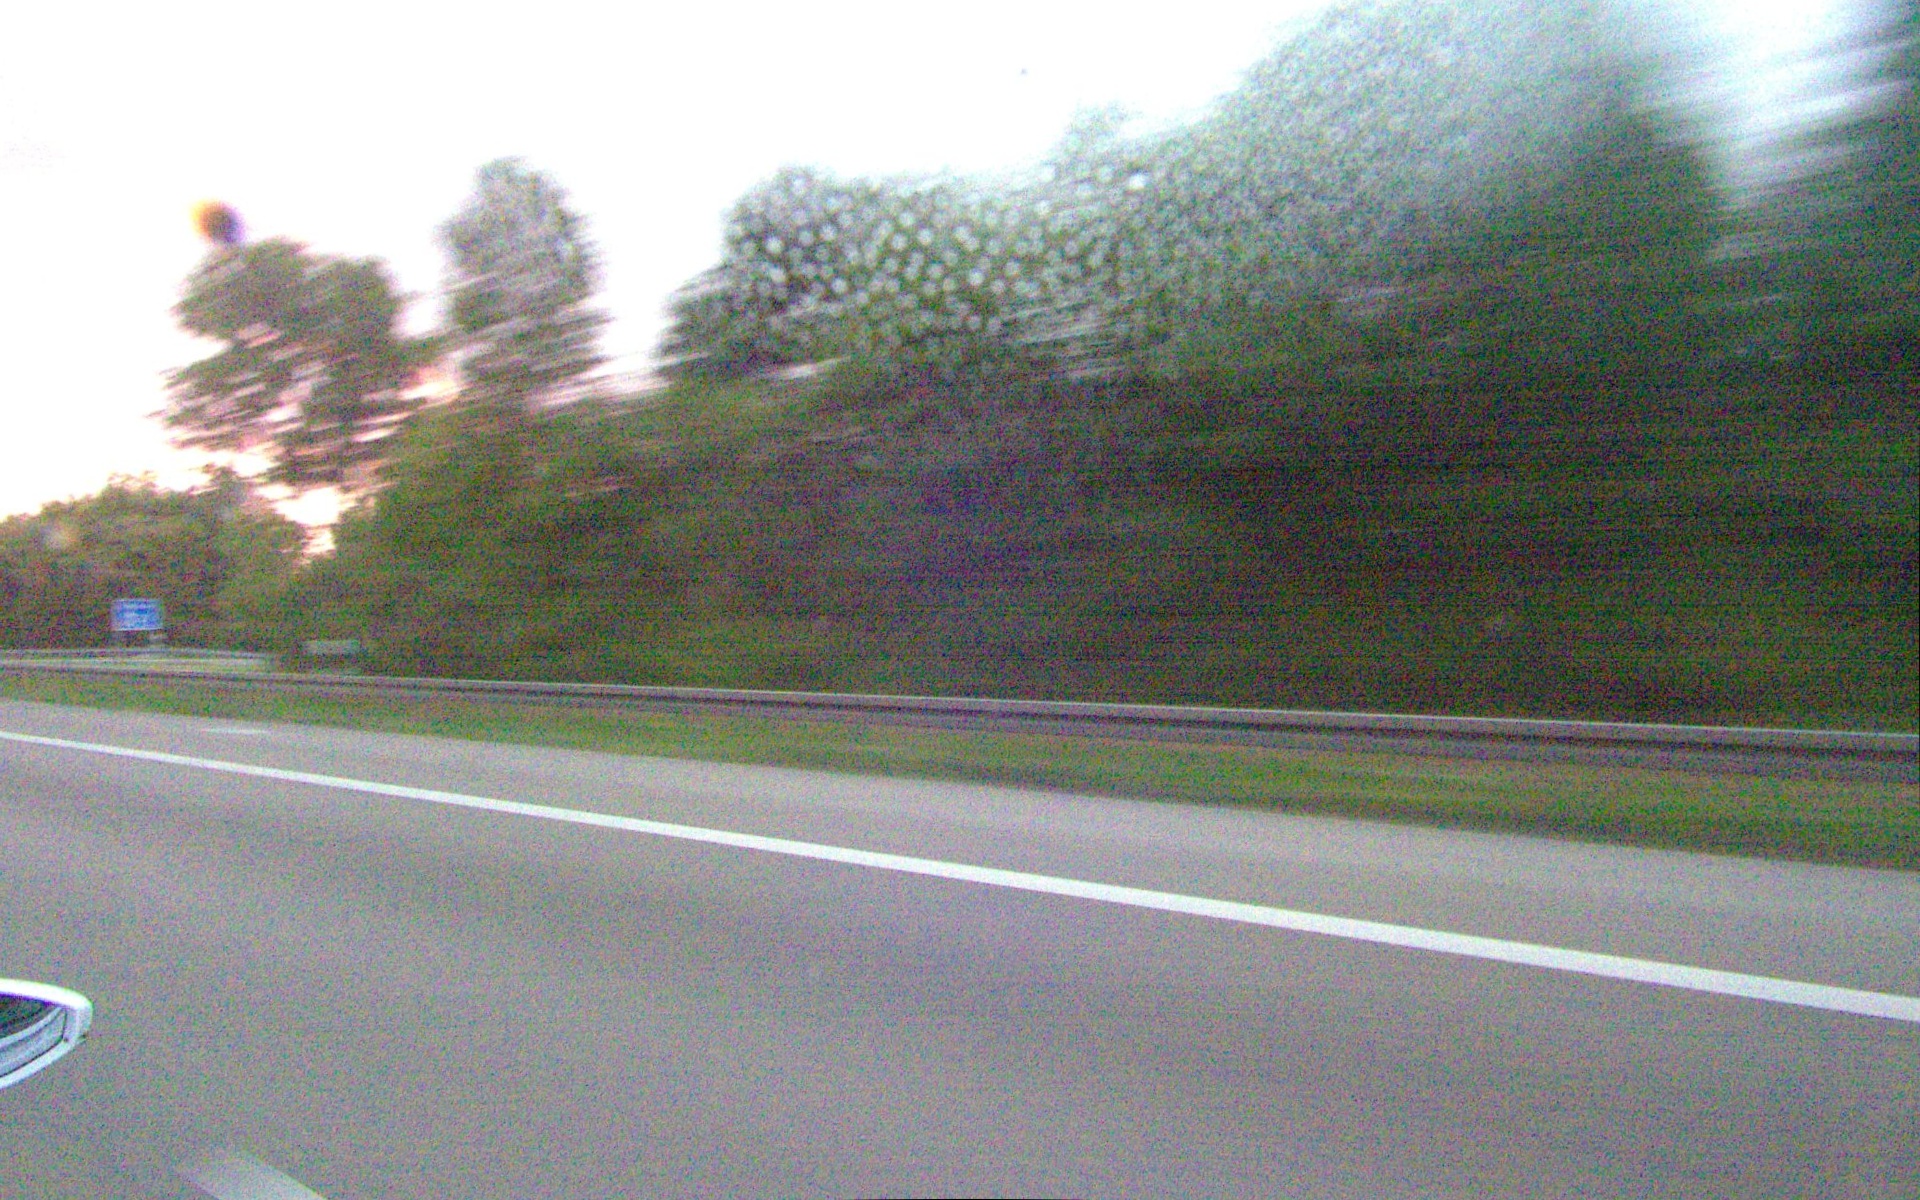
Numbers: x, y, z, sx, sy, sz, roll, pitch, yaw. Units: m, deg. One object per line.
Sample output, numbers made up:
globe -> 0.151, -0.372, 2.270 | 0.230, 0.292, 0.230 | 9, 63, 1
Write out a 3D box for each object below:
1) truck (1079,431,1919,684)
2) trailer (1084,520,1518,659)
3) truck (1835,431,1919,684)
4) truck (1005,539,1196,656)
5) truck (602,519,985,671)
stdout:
truck -> 12.255, -0.602, 21.220 | 19.223, 4.285, 3.771 | -1, 0, 28
trailer -> 10.902, -0.156, 33.323 | 13.375, 3.968, 2.834 | -1, 0, 30
truck -> 20.833, -0.816, 16.684 | 8.679, 4.285, 3.769 | -1, 0, 28
truck -> 5.112, -0.005, 36.714 | 6.290, 3.968, 2.834 | -1, 0, 30
truck -> -5.234, -0.012, 30.011 | 11.797, 3.968, 2.838 | -1, 0, 26
